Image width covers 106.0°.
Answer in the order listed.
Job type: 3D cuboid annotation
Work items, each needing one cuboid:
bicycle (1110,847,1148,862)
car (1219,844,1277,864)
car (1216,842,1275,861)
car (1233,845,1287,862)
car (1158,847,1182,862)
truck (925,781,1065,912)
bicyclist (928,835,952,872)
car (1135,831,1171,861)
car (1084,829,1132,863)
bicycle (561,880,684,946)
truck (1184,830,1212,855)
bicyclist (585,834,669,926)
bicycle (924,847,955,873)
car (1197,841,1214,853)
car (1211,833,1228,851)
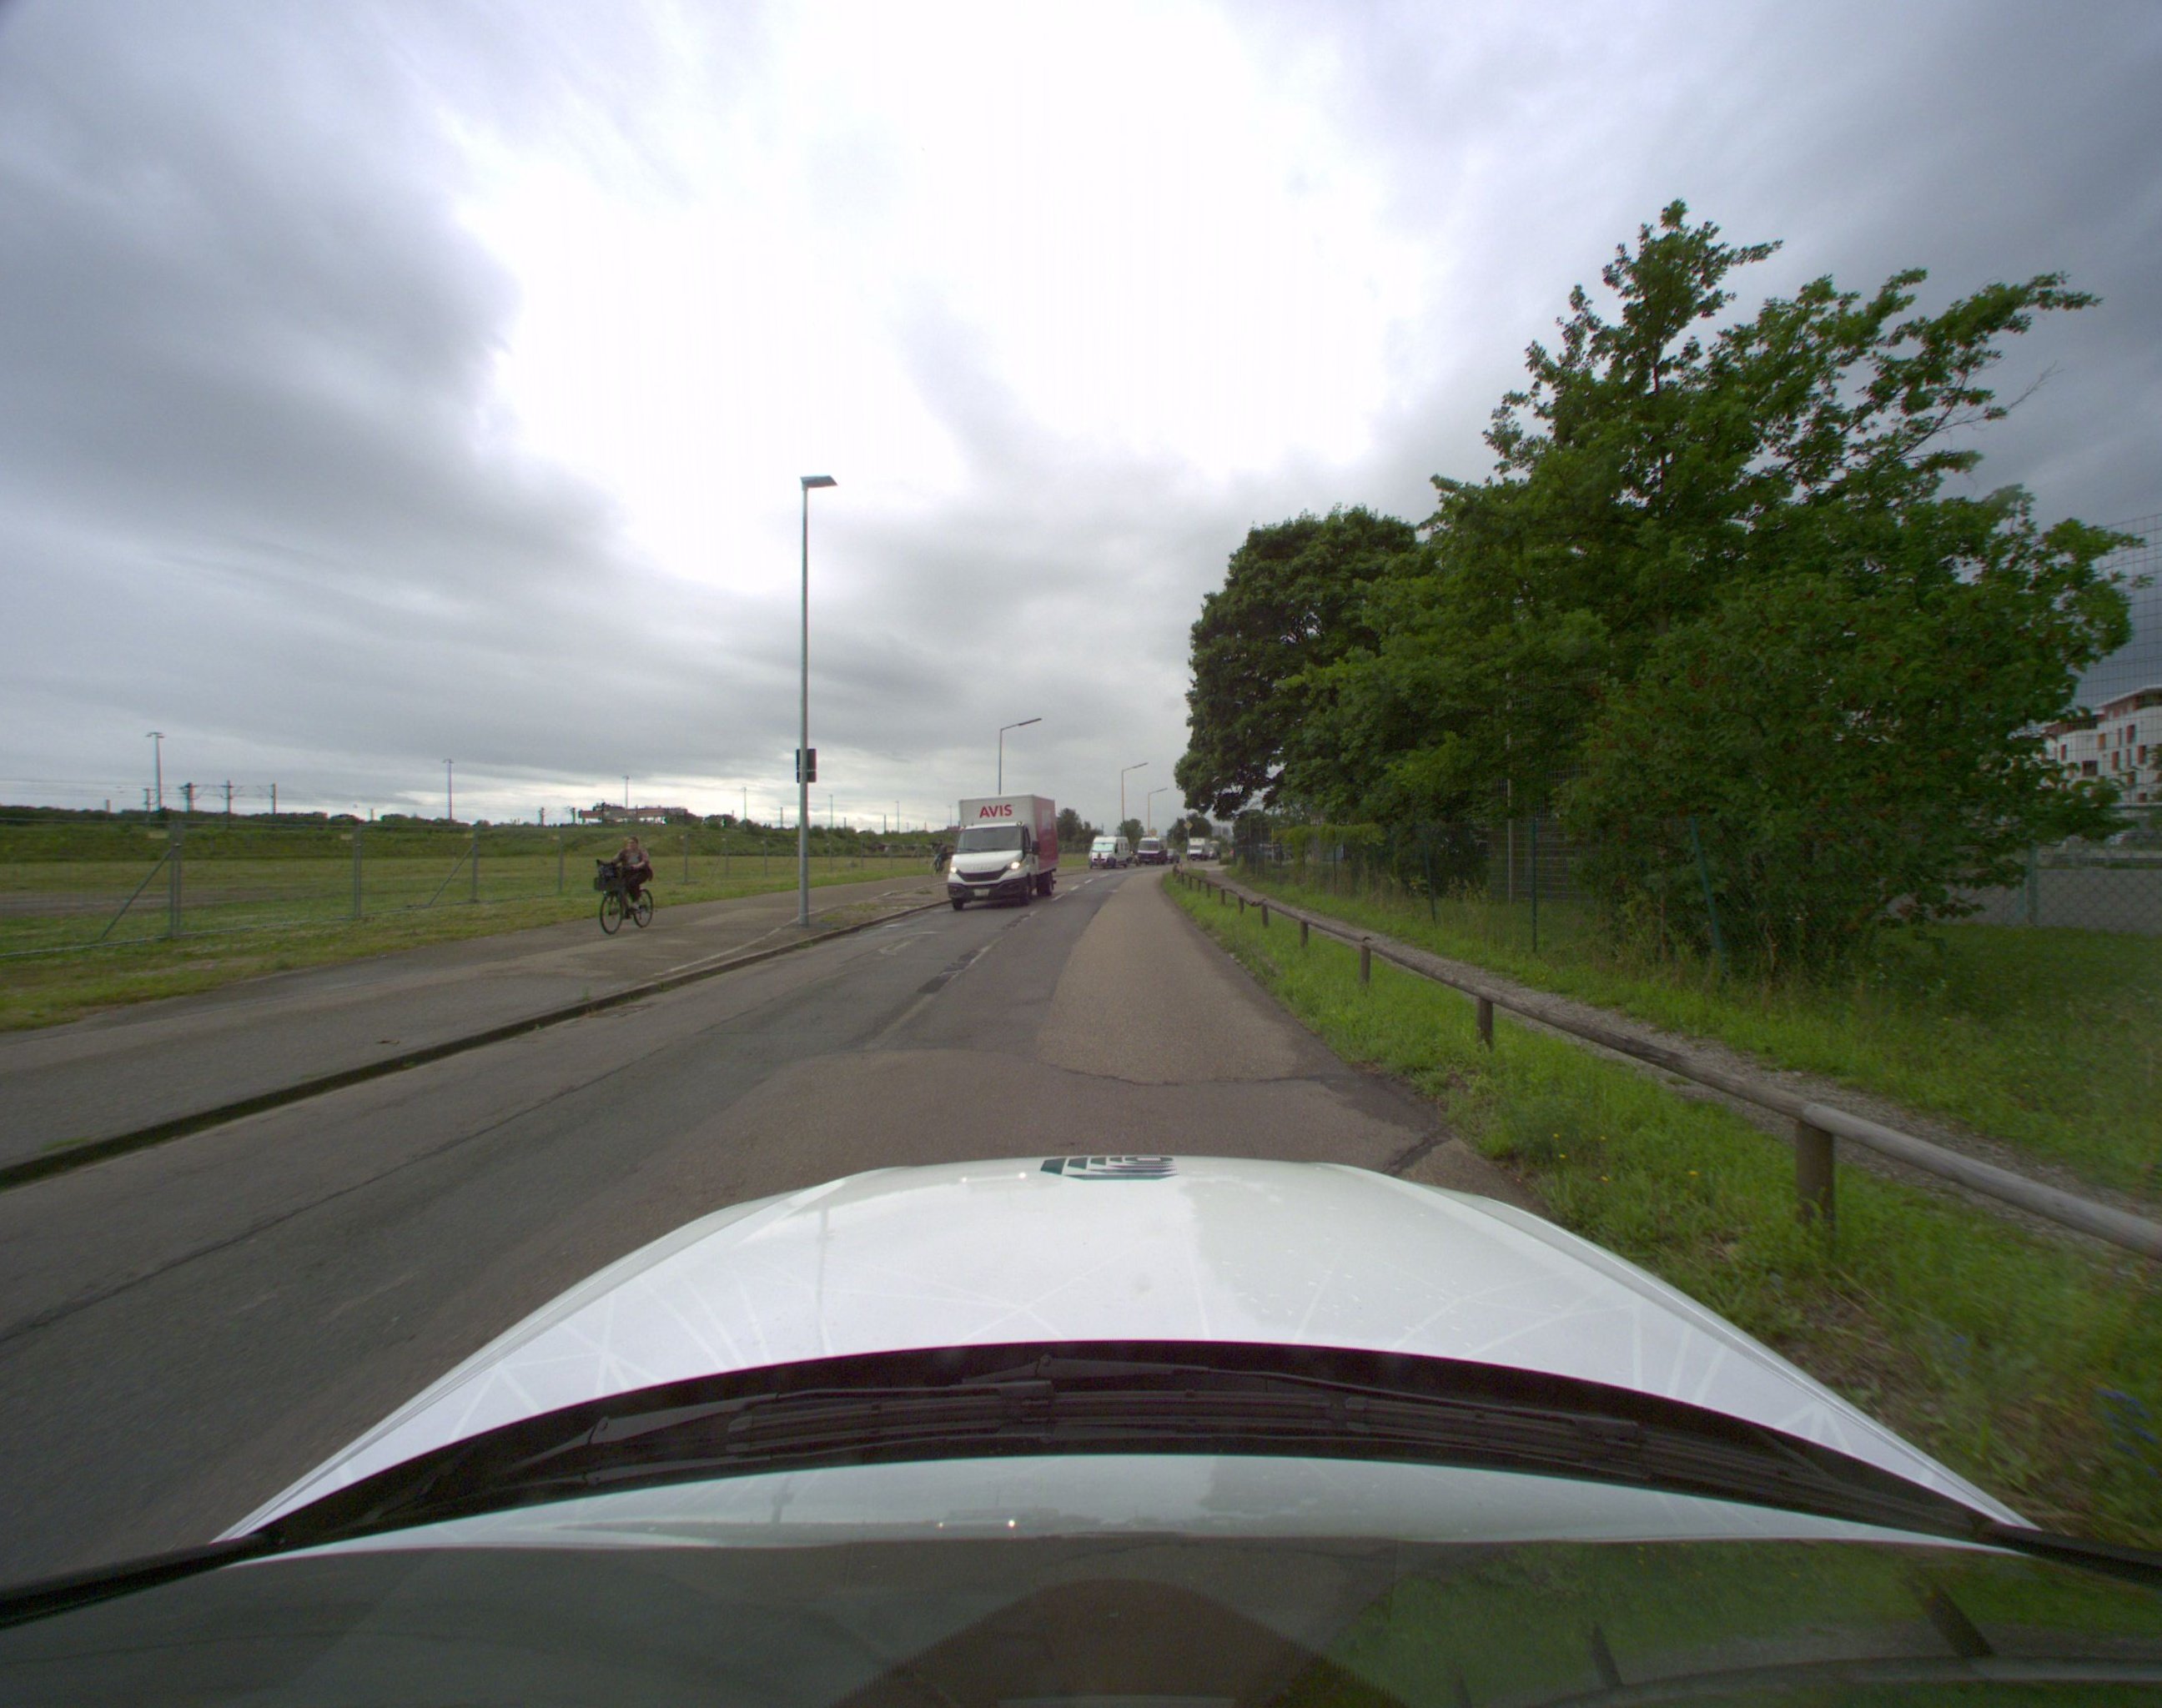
[{"bbox_3d":[4.256,0.029,71.805,3.096,1.199,1.371,0,2,16],"label":"bicycle"},{"bbox_3d":[14.829,0.007,72.291,4.824,1.662,1.851,0,2,16],"label":"car"},{"bbox_3d":[14.100,-0.223,69.823,4.824,1.616,1.851,0,2,16],"label":"car"},{"bbox_3d":[16.902,-0.027,76.708,4.824,1.500,1.851,0,2,16],"label":"car"},{"bbox_3d":[9.481,0.046,86.583,1.765,1.504,4.019,-1,2,18],"label":"car"},{"bbox_3d":[-2.167,-0.266,23.518,2.329,3.061,7.510,-3,1,6],"label":"truck"},{"bbox_3d":[-7.146,-0.029,41.382,0.823,1.821,1.332,-1,2,5],"label":"bicyclist"},{"bbox_3d":[7.091,-0.847,79.848,2.282,2.734,6.120,0,2,17],"label":"car"},{"bbox_3d":[2.183,-0.690,63.716,2.272,2.555,6.437,-1,2,15],"label":"car"},{"bbox_3d":[-7.932,0.984,14.244,0.800,0.907,2.234,-1,2,2],"label":"bicycle"},{"bbox_3d":[15.321,-1.504,106.402,2.443,3.060,8.199,-1,2,17],"label":"truck"},{"bbox_3d":[-7.929,0.425,14.274,0.779,1.526,1.094,-1,2,2],"label":"bicyclist"},{"bbox_3d":[-7.161,0.283,41.297,0.814,1.204,2.562,-1,2,7],"label":"bicycle"},{"bbox_3d":[17.656,-1.041,115.335,1.741,1.525,4.018,-1,2,17],"label":"car"},{"bbox_3d":[20.943,-1.871,123.007,1.989,2.574,4.808,-1,1,17],"label":"car"}]
